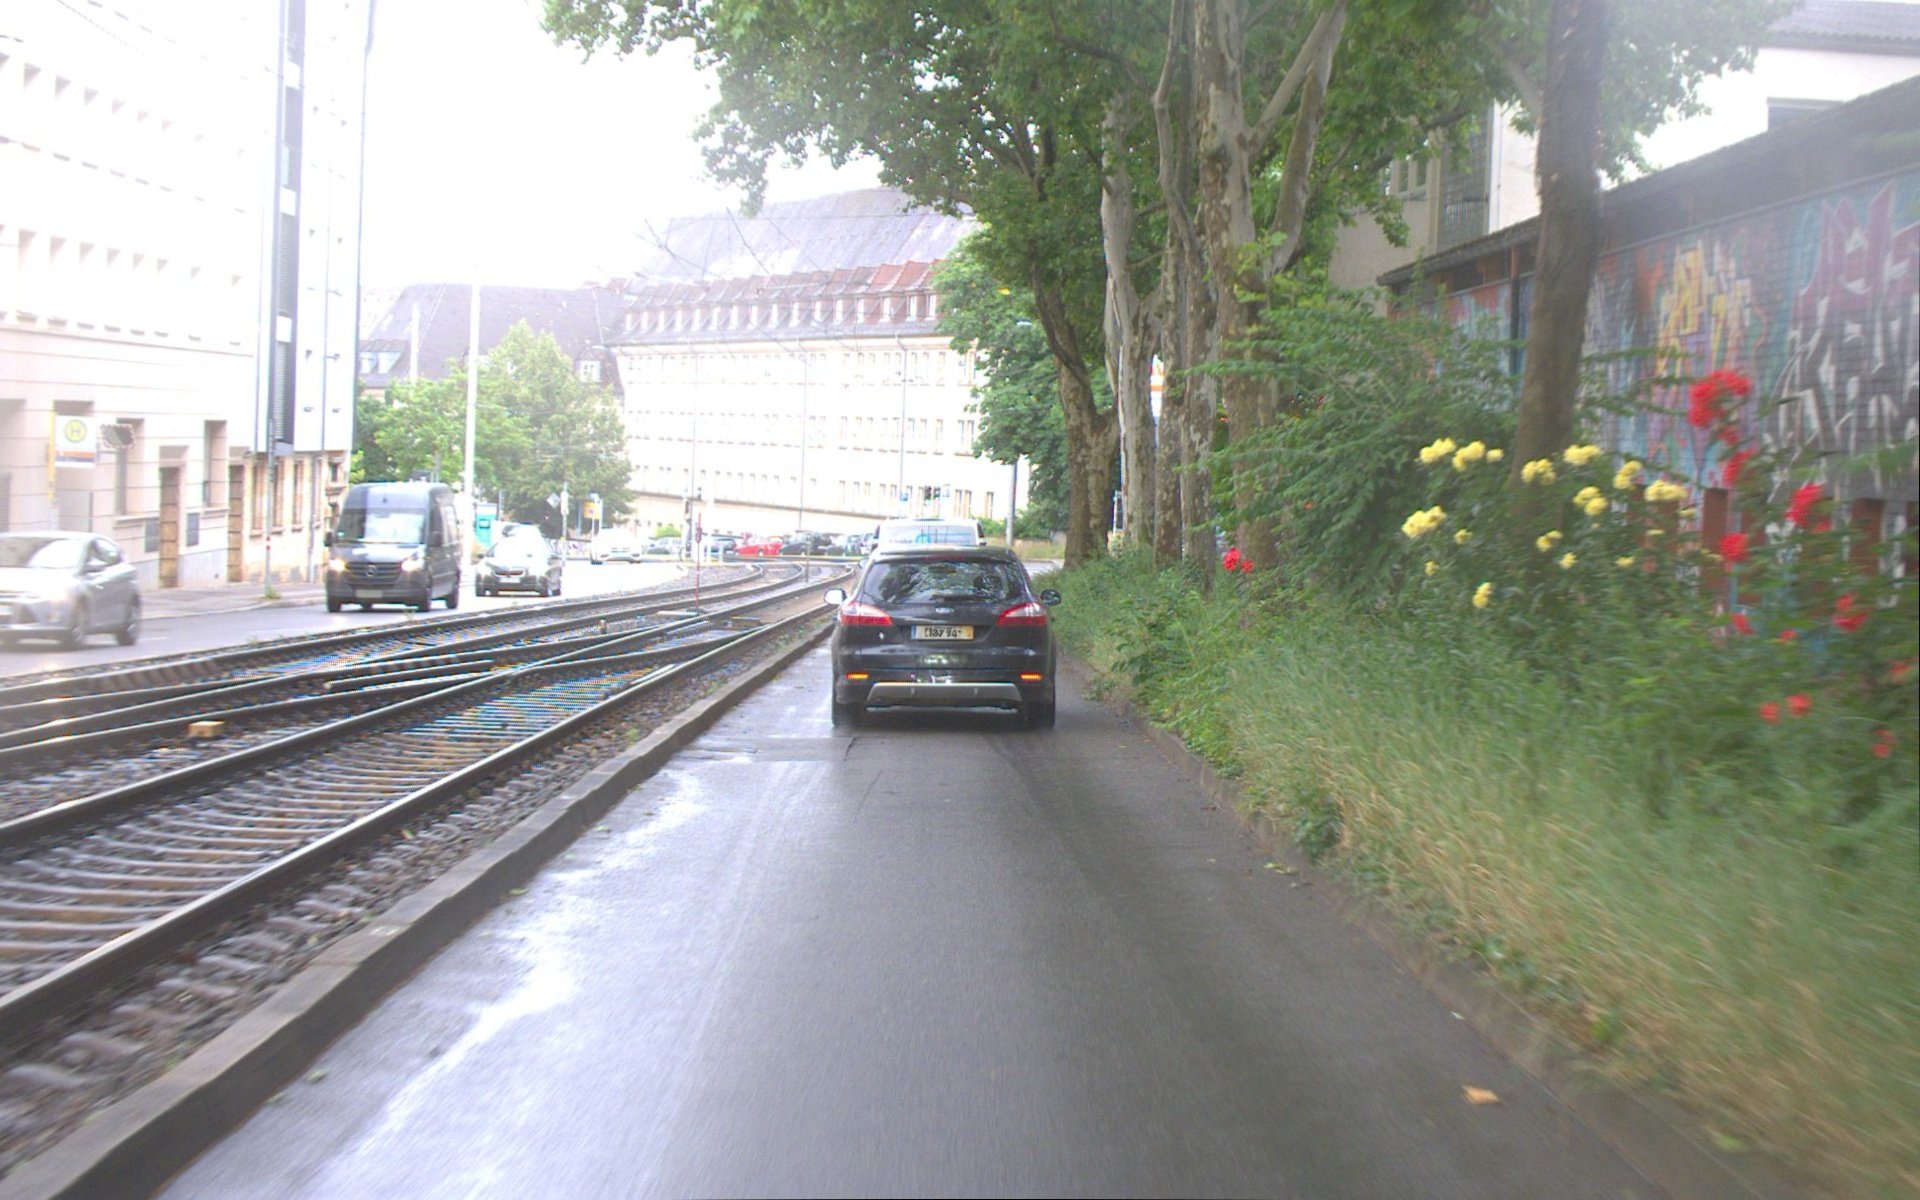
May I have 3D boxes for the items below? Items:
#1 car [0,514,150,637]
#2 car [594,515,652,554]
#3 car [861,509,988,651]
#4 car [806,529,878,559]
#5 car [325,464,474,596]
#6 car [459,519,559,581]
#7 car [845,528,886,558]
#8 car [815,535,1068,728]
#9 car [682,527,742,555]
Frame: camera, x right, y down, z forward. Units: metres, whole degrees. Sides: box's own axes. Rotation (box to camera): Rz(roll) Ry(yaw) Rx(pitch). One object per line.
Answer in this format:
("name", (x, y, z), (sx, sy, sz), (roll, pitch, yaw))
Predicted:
("car", (-11.568, -0.309, 43.238), (1.712, 1.457, 4.280), (0, 0, 1))
("car", (-13.759, -2.668, 140.749), (1.799, 1.477, 4.840), (1, 0, 1))
("car", (-0.568, -0.290, 51.306), (1.740, 2.007, 3.904), (1, 0, -2))
("car", (-6.277, -2.951, 182.390), (1.994, 1.537, 4.000), (1, 0, -34))
("car", (-11.245, -1.350, 69.391), (1.993, 2.443, 5.998), (1, -1, 0))
("car", (-11.448, -1.287, 87.579), (1.880, 1.481, 4.854), (2, 1, 0))
("car", (-4.906, -2.974, 178.674), (1.657, 1.471, 3.644), (1, 0, -9))
("car", (-0.227, 0.250, 29.015), (1.933, 1.448, 4.318), (2, 0, -2))
("car", (-14.181, -3.376, 196.410), (1.993, 1.537, 4.001), (-1, 1, -27))
